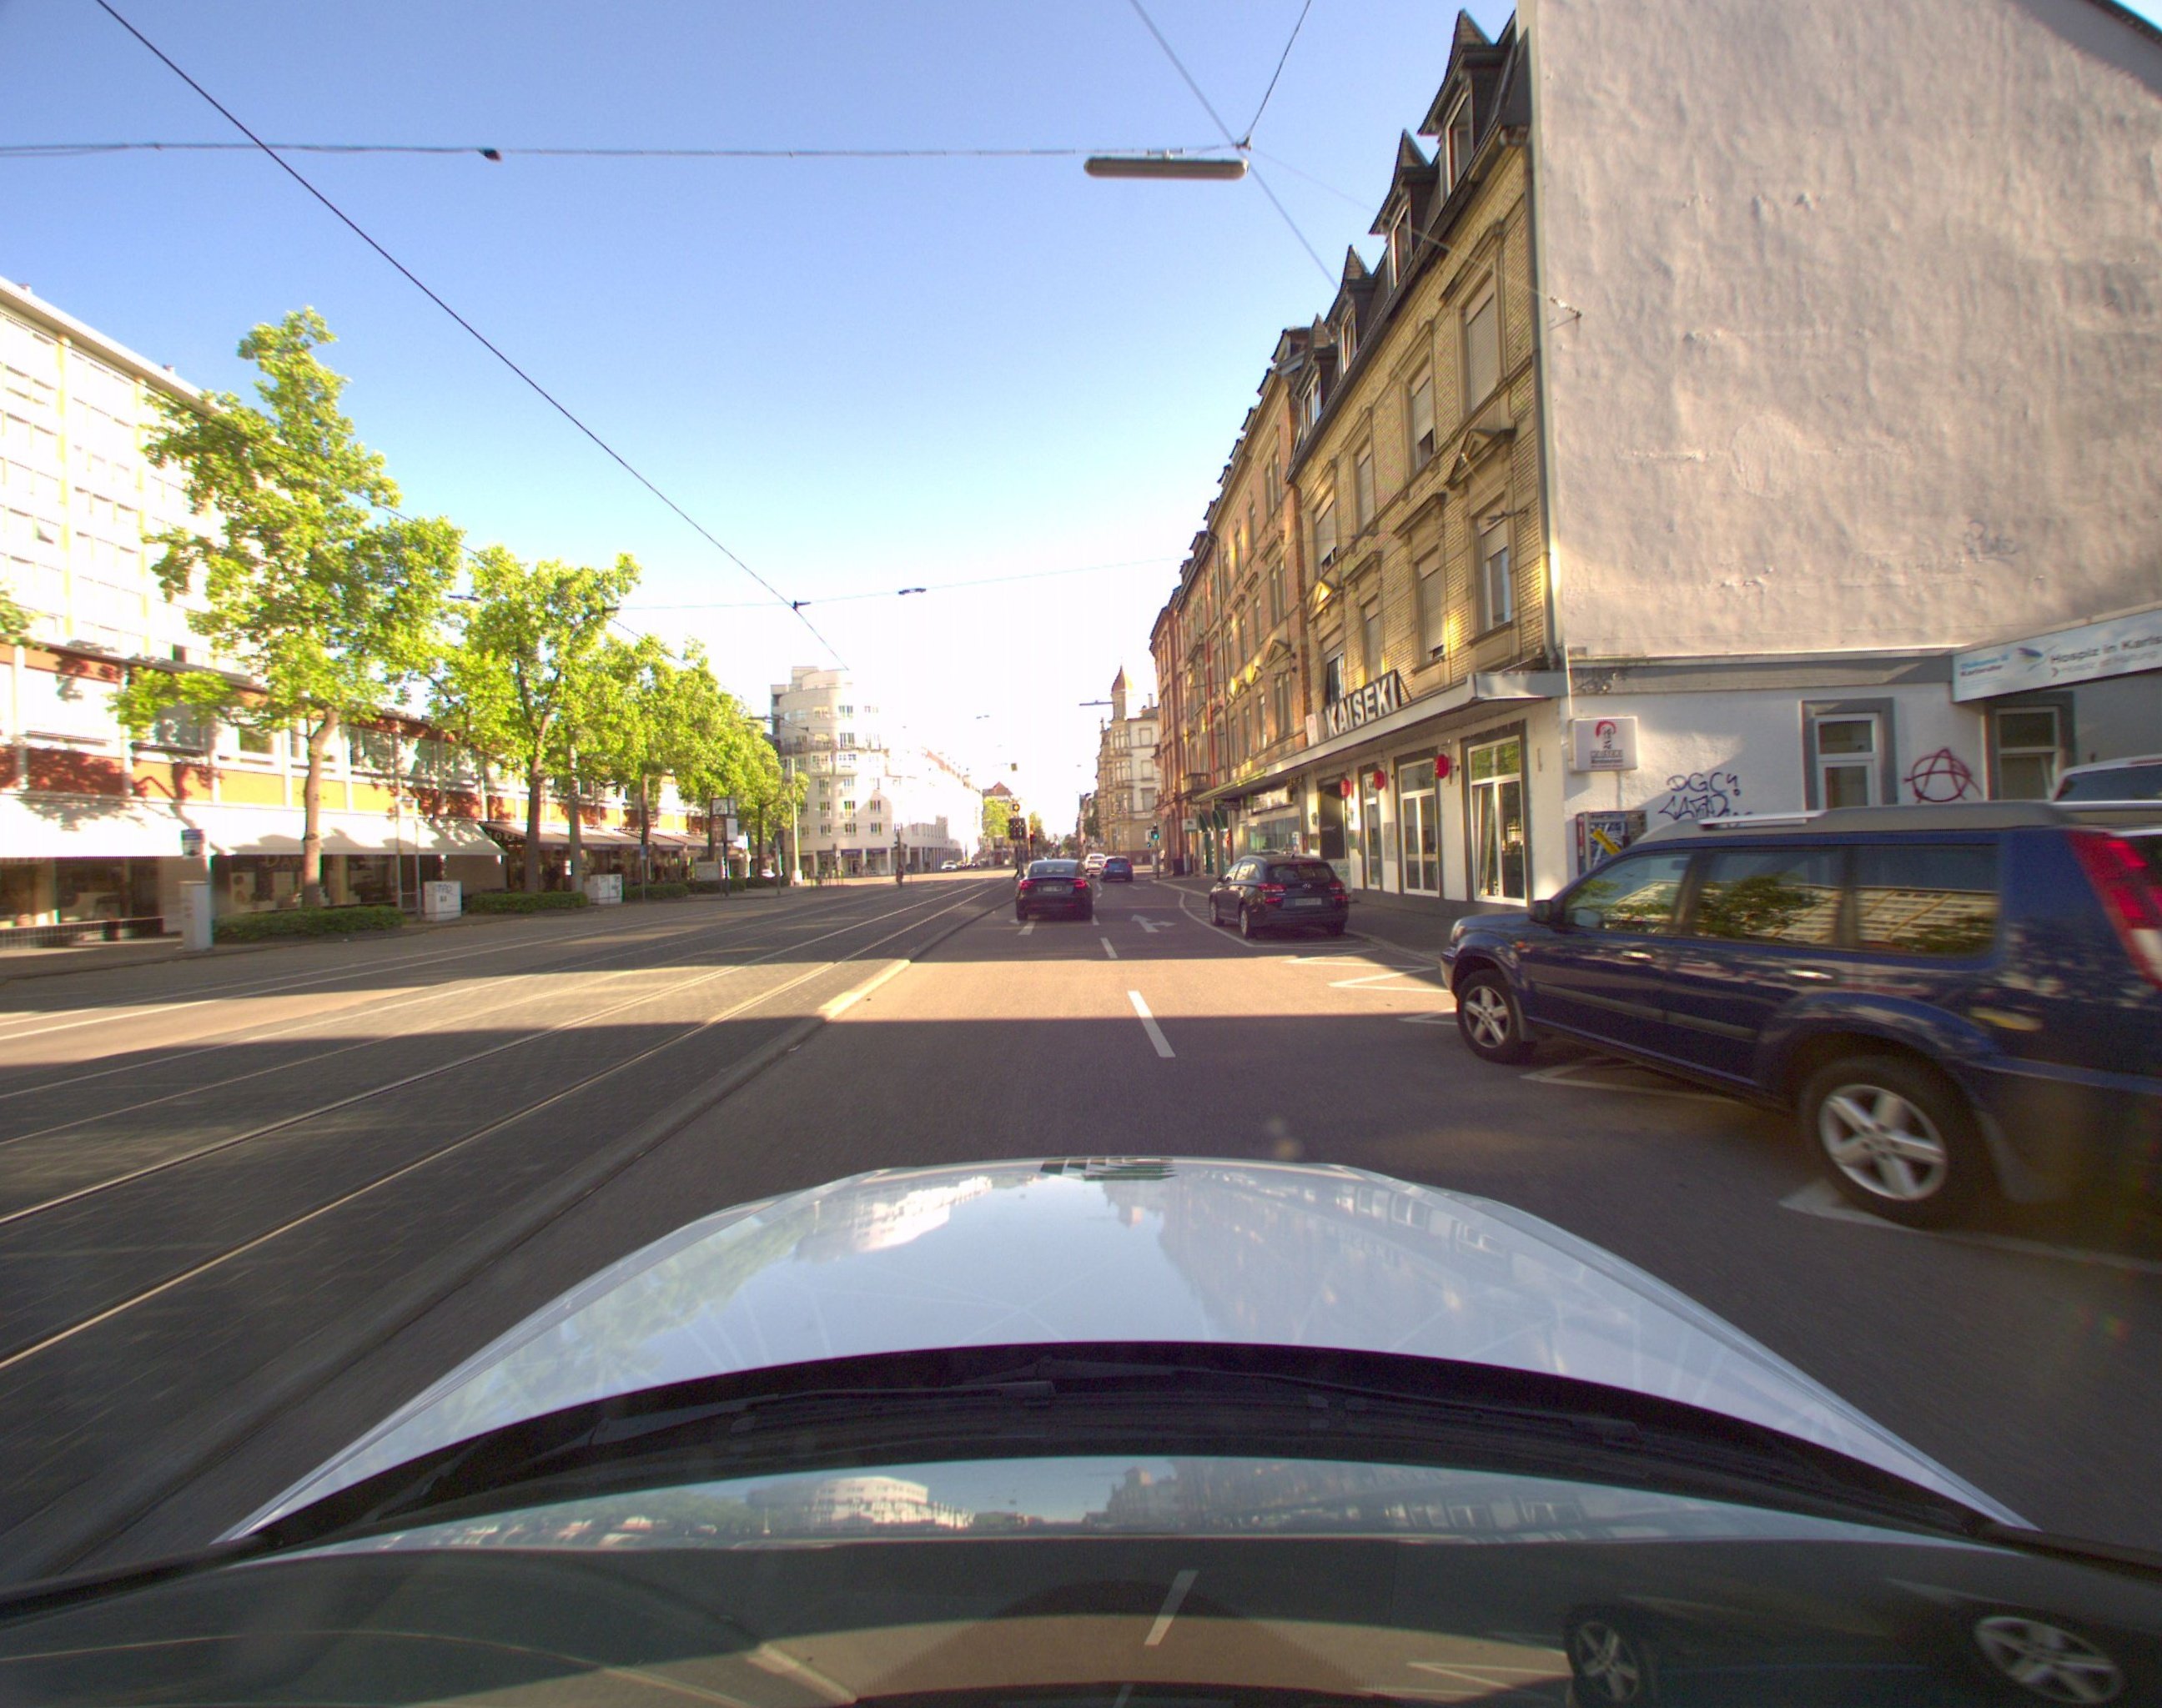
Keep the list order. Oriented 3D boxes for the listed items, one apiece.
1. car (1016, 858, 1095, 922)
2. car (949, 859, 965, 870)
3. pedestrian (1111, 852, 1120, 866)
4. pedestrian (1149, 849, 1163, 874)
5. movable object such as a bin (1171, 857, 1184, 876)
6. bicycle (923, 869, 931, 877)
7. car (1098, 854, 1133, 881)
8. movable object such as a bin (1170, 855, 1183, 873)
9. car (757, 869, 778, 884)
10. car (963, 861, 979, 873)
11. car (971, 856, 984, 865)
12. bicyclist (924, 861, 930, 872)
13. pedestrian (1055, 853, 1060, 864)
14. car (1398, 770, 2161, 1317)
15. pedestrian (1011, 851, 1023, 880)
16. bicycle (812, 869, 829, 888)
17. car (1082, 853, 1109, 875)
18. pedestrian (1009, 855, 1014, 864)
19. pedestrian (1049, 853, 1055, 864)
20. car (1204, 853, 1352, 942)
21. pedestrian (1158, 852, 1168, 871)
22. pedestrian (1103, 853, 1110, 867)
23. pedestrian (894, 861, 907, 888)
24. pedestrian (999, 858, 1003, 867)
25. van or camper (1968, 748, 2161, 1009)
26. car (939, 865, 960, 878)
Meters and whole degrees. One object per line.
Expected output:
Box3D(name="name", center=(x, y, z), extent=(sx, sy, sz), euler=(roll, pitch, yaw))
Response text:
Box3D(name="car", center=(-0.640, 0.829, 20.772), extent=(1.805, 1.424, 4.151), euler=(-1, 0, -2))
Box3D(name="car", center=(-19.560, 1.638, 128.802), extent=(1.989, 1.596, 3.994), euler=(-3, -1, -4))
Box3D(name="pedestrian", center=(4.313, 0.617, 102.042), extent=(0.917, 1.632, 0.944), euler=(-3, -1, 7))
Box3D(name="pedestrian", center=(4.984, 0.483, 54.286), extent=(0.681, 1.607, 0.728), euler=(-3, 0, -11))
Box3D(name="movable object such as a bin", center=(5.877, 0.744, 49.691), extent=(0.661, 1.072, 0.591), euler=(-5, 0, 0))
Box3D(name="bicycle", center=(-19.787, 2.391, 104.728), extent=(0.592, 0.972, 1.817), euler=(-3, -1, -1))
Box3D(name="car", center=(1.918, 0.733, 46.360), extent=(1.776, 1.451, 3.652), euler=(-1, 0, -1))
Box3D(name="movable object such as a bin", center=(5.914, 0.611, 50.290), extent=(0.661, 1.072, 0.545), euler=(-5, 0, 0))
Box3D(name="car", center=(-36.209, 2.554, 94.203), extent=(1.801, 1.402, 4.081), euler=(-2, 2, -15))
Box3D(name="car", center=(-18.827, 2.273, 139.733), extent=(2.221, 1.911, 4.605), euler=(-2, 0, -2))
Box3D(name="car", center=(-18.554, 1.234, 146.228), extent=(1.724, 1.515, 4.401), euler=(-2, 0, -2))
Box3D(name="bicyclist", center=(-19.804, 1.616, 104.604), extent=(0.587, 1.285, 0.926), euler=(-3, -1, -1))
Box3D(name="pedestrian", center=(-3.753, 0.714, 129.779), extent=(0.633, 1.698, 0.935), euler=(-1, -1, 6))
Box3D(name="car", center=(3.899, 0.601, 4.847), extent=(1.689, 1.713, 4.602), euler=(-1, 0, -8))
Box3D(name="pedestrian", center=(-3.995, 0.692, 50.889), extent=(0.556, 1.763, 0.894), euler=(-4, 0, -2))
Box3D(name="bicycle", center=(-17.726, 1.637, 55.425), extent=(0.496, 1.186, 2.233), euler=(-3, 0, -3))
Box3D(name="car", center=(1.151, 0.835, 66.365), extent=(1.988, 1.743, 3.998), euler=(-1, -1, -1))
Box3D(name="pedestrian", center=(-12.637, 1.014, 147.635), extent=(0.729, 1.559, 0.742), euler=(-2, 1, -3))
Box3D(name="pedestrian", center=(-4.777, 0.756, 134.542), extent=(0.710, 1.777, 0.569), euler=(-3, 0, 34))
Box3D(name="car", center=(3.600, 0.710, 15.706), extent=(1.685, 1.451, 4.357), euler=(-1, 0, -2))
Box3D(name="pedestrian", center=(7.482, 0.700, 74.698), extent=(0.694, 1.655, 0.635), euler=(-3, -1, 20))
Box3D(name="pedestrian", center=(3.231, 0.770, 102.778), extent=(0.778, 1.749, 1.092), euler=(-2, 2, -4))
Box3D(name="pedestrian", center=(-10.720, 1.202, 48.447), extent=(0.498, 1.517, 0.858), euler=(-4, 0, -2))
Box3D(name="pedestrian", center=(-13.471, 1.460, 137.167), extent=(0.729, 1.527, 0.742), euler=(-2, 1, -3))
Box3D(name="van or camper", center=(10.274, -0.023, 6.195), extent=(4.674, 1.933, 2.001), euler=(-5, 0, 2))
Box3D(name="car", center=(-16.592, 2.188, 102.882), extent=(1.989, 1.451, 4.497), euler=(-3, 0, -3))
